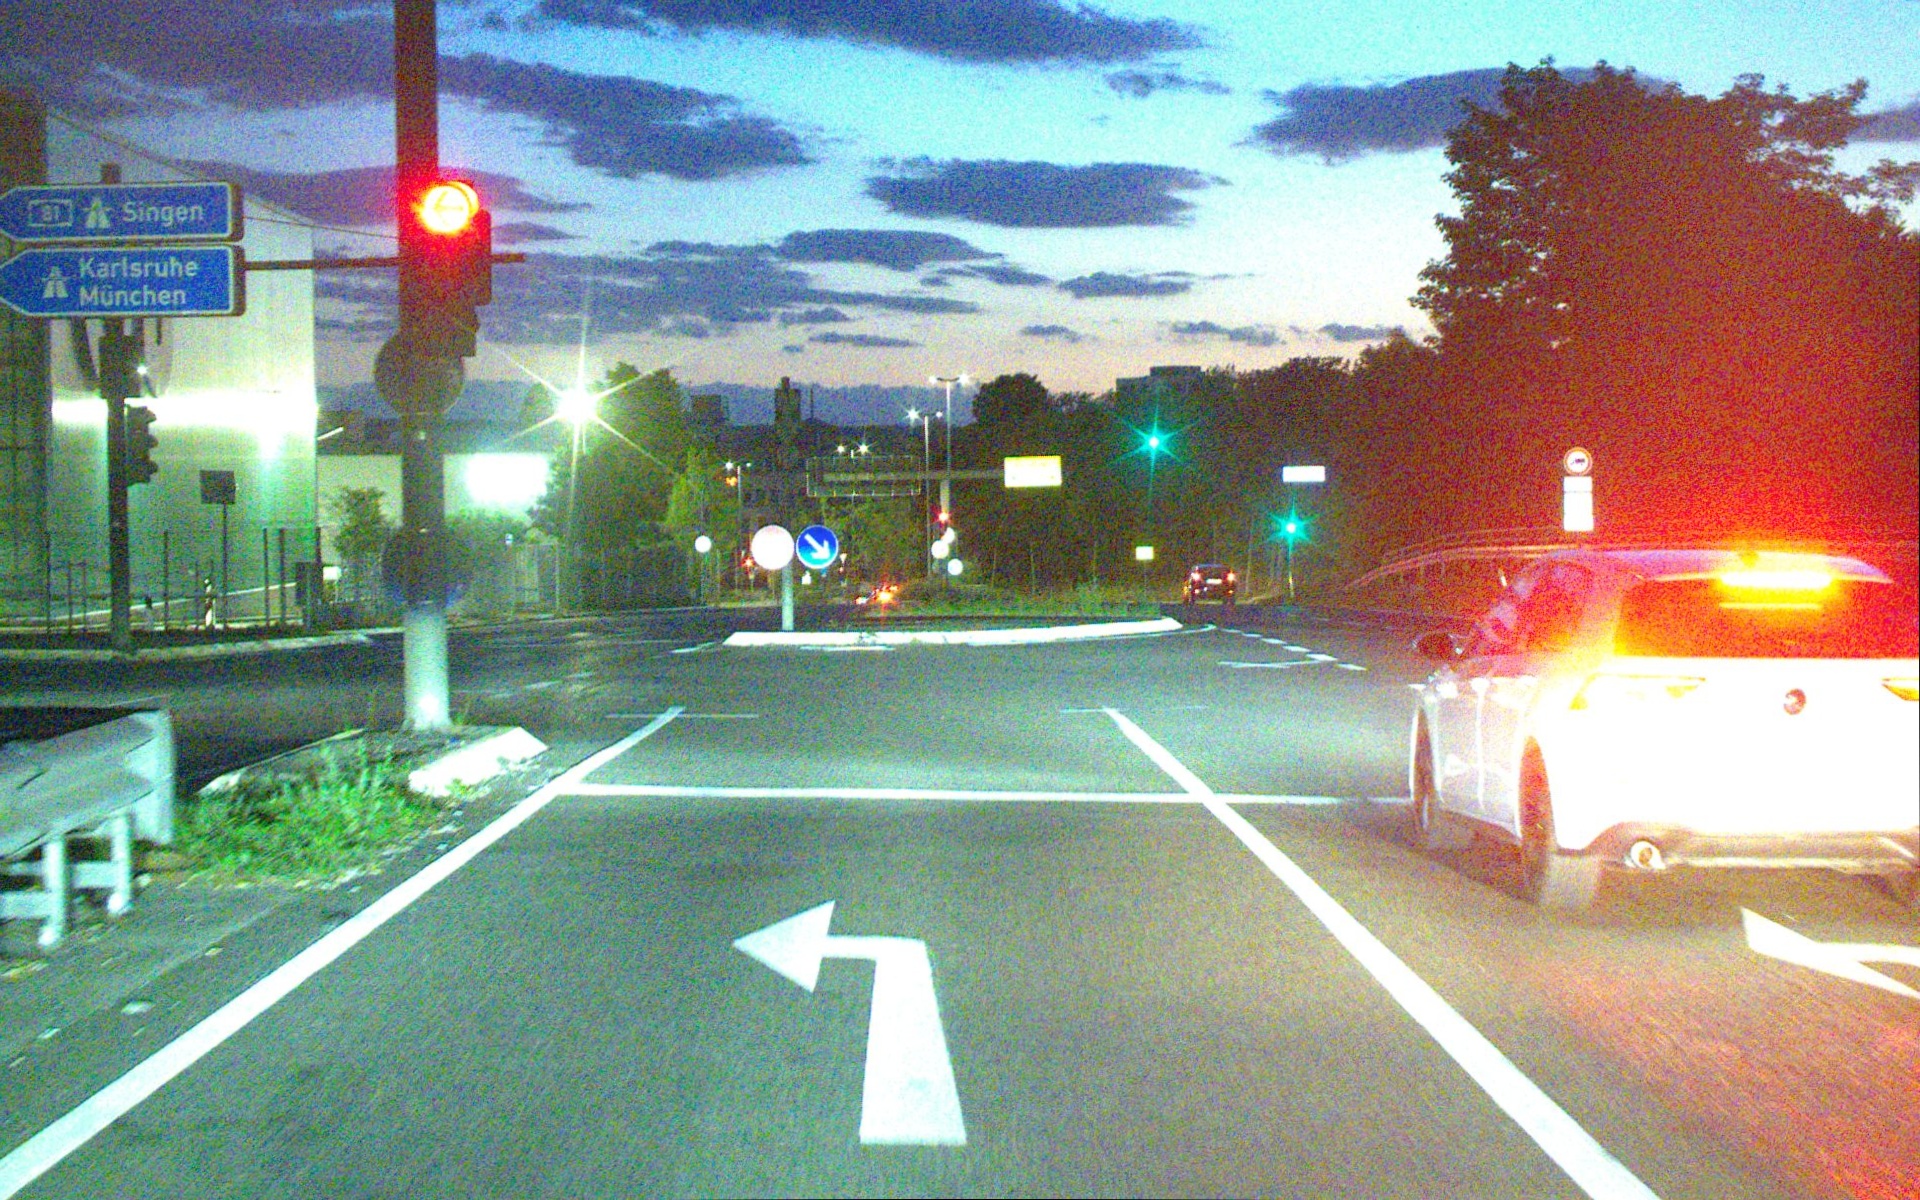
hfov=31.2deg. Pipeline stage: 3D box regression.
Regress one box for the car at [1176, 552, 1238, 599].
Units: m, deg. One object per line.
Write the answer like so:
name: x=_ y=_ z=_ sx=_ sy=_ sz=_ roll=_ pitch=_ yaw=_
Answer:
car: x=9.081 y=-0.915 z=126.592 sx=1.935 sy=1.640 sz=4.001 roll=-1 pitch=1 yaw=-1

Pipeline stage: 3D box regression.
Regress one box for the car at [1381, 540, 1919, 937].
car: x=3.039 y=0.485 z=14.950 sx=1.758 sy=1.454 sz=4.193 roll=1 pitch=1 yaw=-2
